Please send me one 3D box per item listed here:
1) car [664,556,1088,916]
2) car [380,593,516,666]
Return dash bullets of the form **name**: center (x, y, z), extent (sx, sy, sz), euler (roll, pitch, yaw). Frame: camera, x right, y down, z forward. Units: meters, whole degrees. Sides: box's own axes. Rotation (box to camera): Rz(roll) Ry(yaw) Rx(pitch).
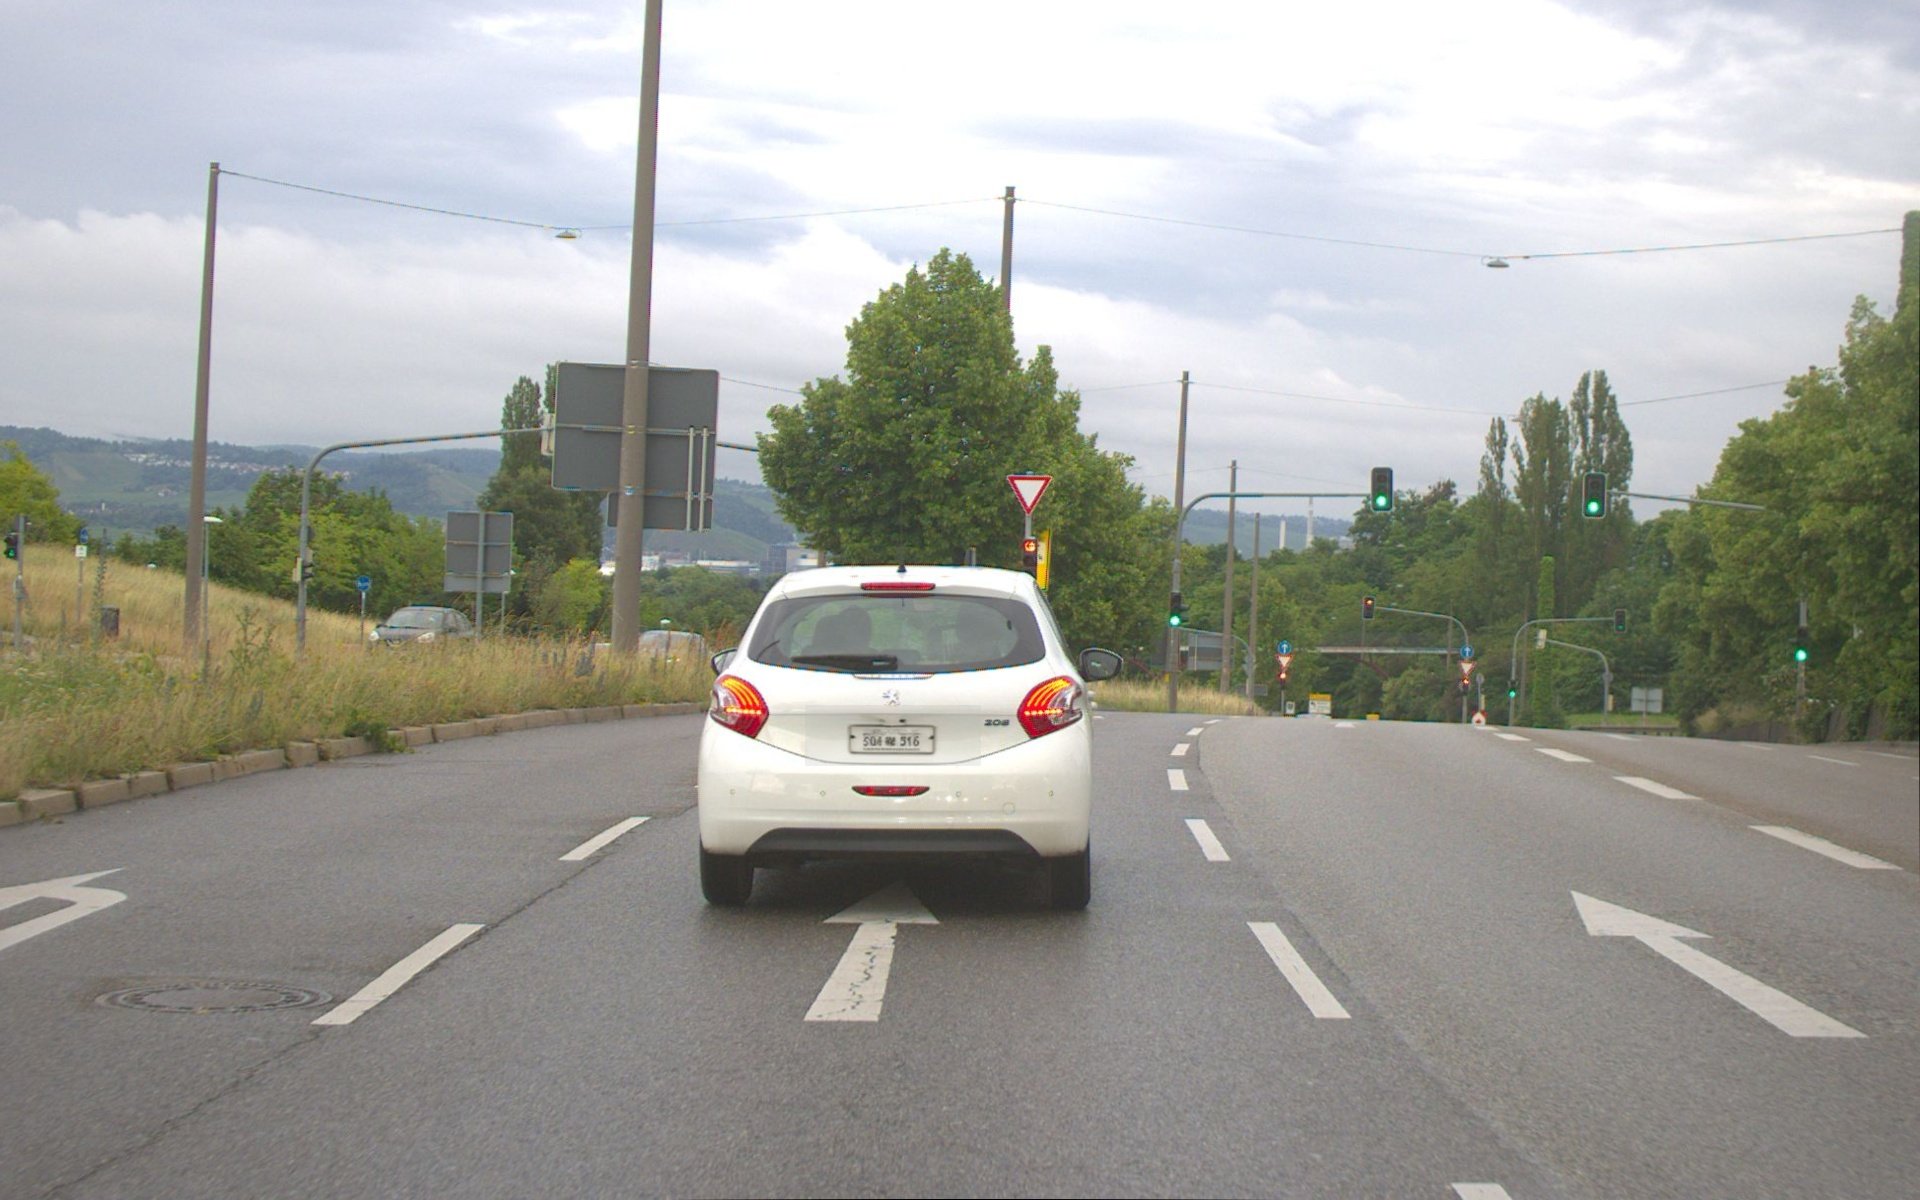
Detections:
- **car**: center (-0.293, 0.540, 15.843), extent (1.708, 1.435, 3.690), euler (1, 0, 2)
- **car**: center (-11.263, 0.669, 75.889), extent (1.768, 1.379, 3.998), euler (3, -2, 9)
